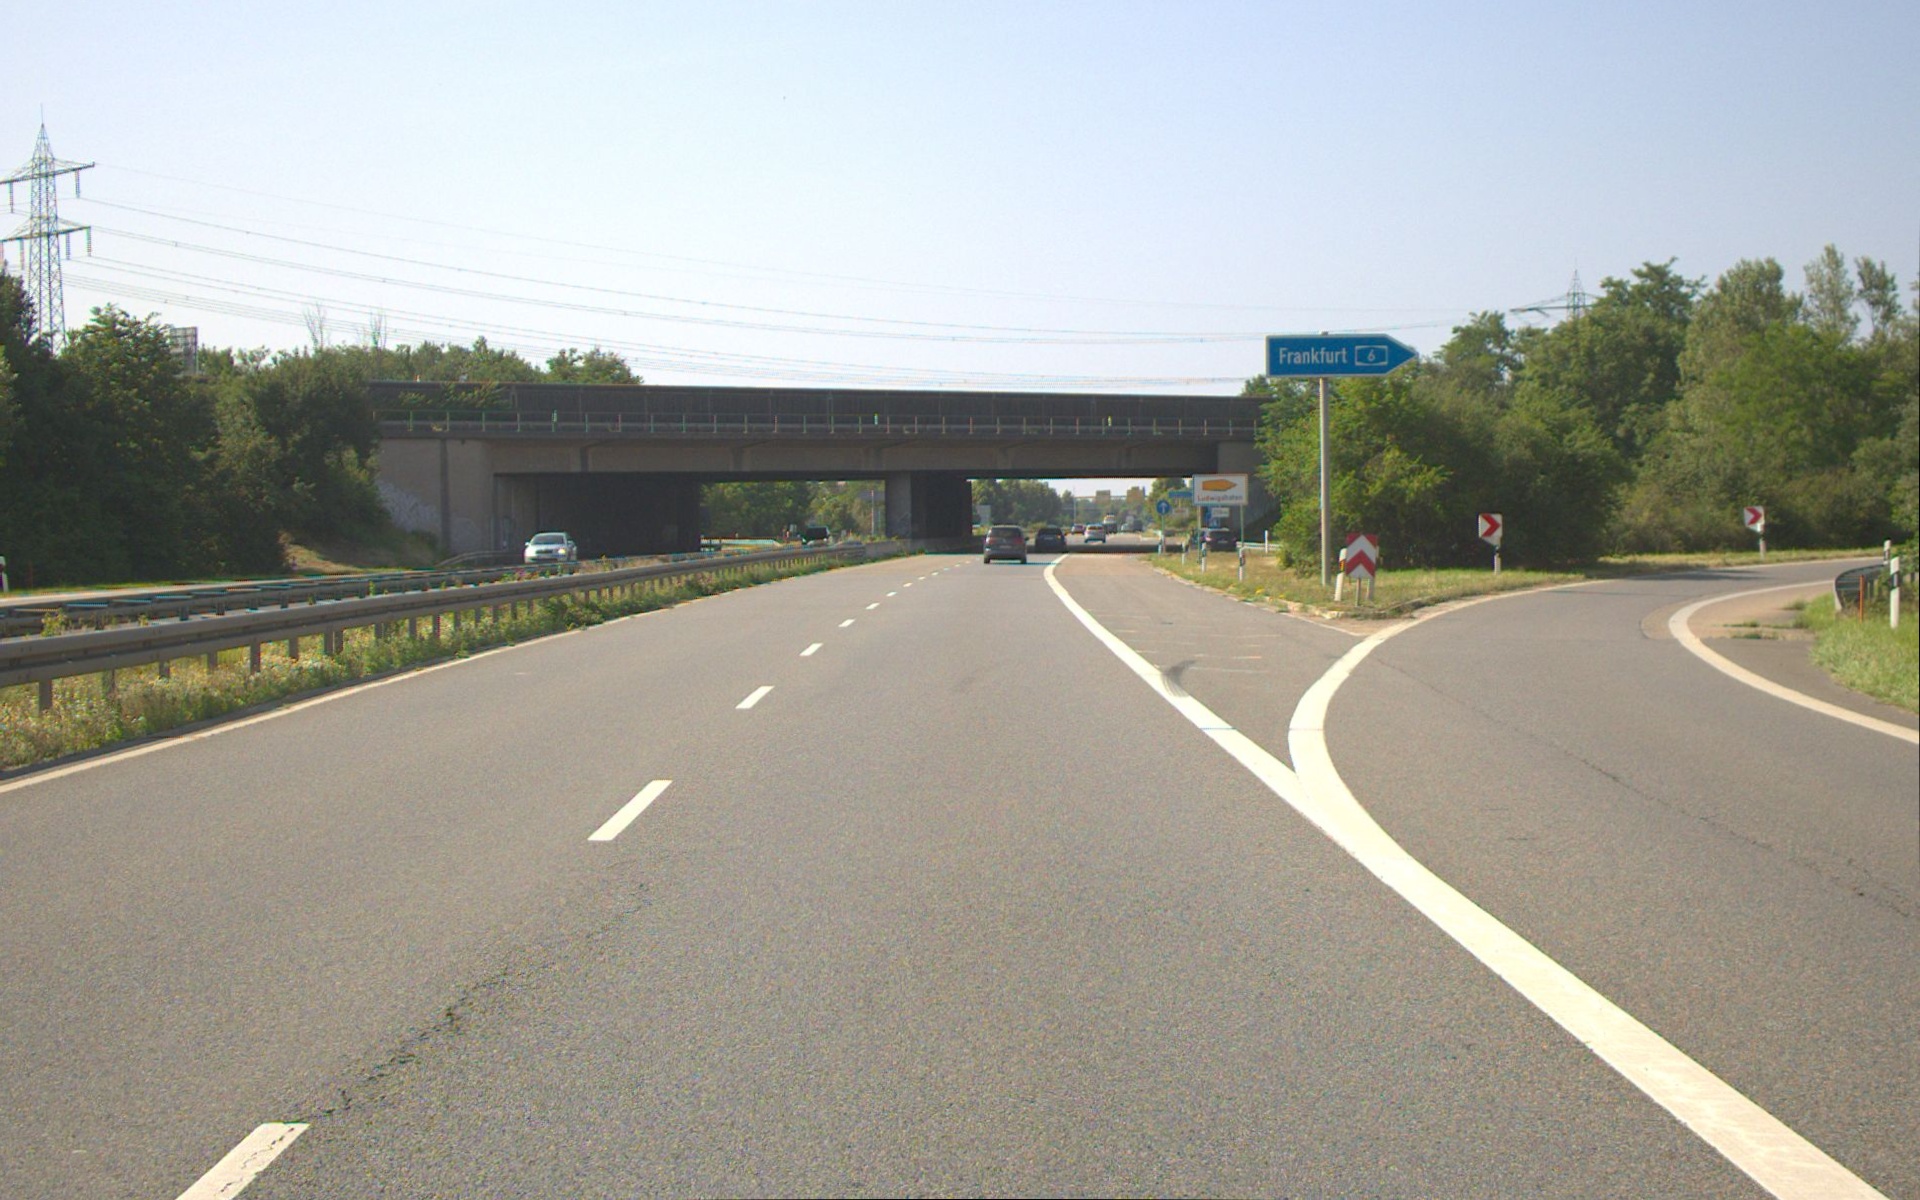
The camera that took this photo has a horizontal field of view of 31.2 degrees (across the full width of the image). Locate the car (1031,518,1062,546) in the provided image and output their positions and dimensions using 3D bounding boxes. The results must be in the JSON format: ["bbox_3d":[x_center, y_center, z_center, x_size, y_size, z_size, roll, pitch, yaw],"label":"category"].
[{"bbox_3d":[5.163,-4.039,205.221,1.850,1.638,4.000,0,1,2],"label":"car"}]

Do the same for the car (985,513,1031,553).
[{"bbox_3d":[2.050,-2.831,145.293,1.850,1.638,4.000,-1,1,2],"label":"car"}]

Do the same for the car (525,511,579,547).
[{"bbox_3d":[-16.354,-2.859,137.980,1.674,1.405,3.763,1,2,1],"label":"car"}]

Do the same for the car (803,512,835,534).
[{"bbox_3d":[-9.660,-5.263,235.453,1.962,1.405,3.636,-1,2,1],"label":"car"}]

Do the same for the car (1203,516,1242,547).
[{"bbox_3d":[13.760,-3.598,180.556,1.850,1.638,4.000,0,1,2],"label":"car"}]
